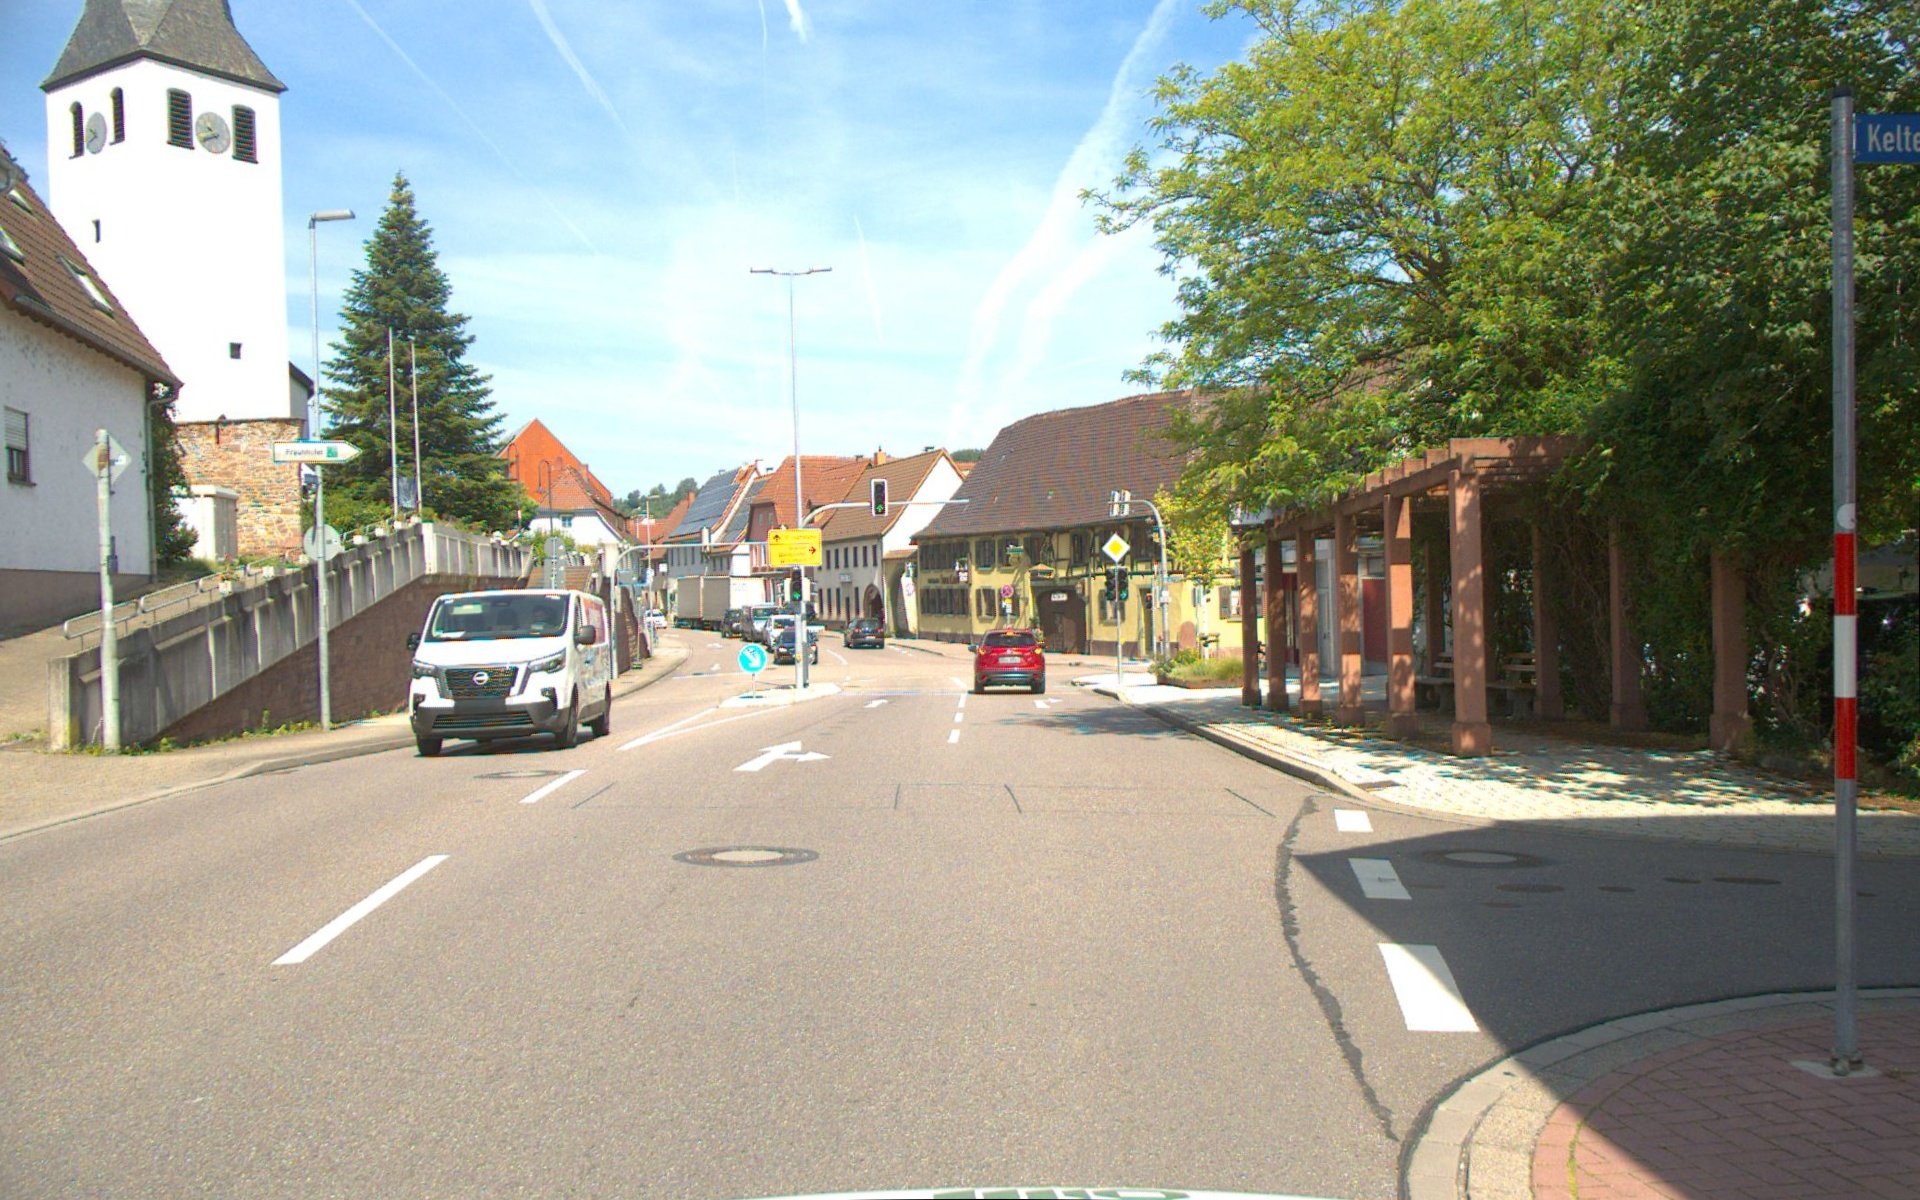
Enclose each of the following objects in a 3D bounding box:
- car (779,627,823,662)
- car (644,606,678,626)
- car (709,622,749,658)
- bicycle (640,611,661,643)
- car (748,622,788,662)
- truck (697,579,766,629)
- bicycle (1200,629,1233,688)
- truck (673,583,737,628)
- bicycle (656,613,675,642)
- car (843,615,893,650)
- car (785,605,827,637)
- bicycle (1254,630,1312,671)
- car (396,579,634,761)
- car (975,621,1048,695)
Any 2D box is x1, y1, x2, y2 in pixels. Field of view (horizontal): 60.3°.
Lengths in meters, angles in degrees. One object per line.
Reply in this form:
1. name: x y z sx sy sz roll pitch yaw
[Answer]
1. car: -7.265 2.013 75.822 1.784 1.459 4.246 -1 0 -3
2. car: -24.667 1.303 136.391 1.764 1.553 3.971 -2 1 -26
3. car: -15.430 2.666 110.221 1.732 2.285 4.526 1 0 -20
4. bicycle: -18.107 1.573 96.741 0.627 1.810 2.670 1 0 2
5. car: -10.370 2.213 89.125 1.788 1.939 4.952 -1 1 -10
6. truck: -17.416 0.281 125.566 3.177 3.611 9.173 1 0 -21
7. bicycle: 6.071 1.370 39.155 0.518 1.302 1.993 -4 -1 4
8. truck: -20.839 0.510 134.846 3.113 3.521 10.647 1 -1 -20
9. bicycle: -17.187 1.588 96.590 0.546 1.635 2.563 1 0 2
10. car: -5.081 1.752 91.125 1.792 1.769 3.985 -2 1 -18
11. car: -10.180 1.341 108.992 1.819 2.049 3.976 1 0 -20
12. bicycle: 10.640 1.657 54.468 1.766 1.256 0.549 -2 -1 1
13. car: -5.530 0.789 21.302 1.930 1.966 5.309 -2 0 -4
14. car: 1.386 1.493 43.465 1.767 1.692 3.814 -2 1 3
